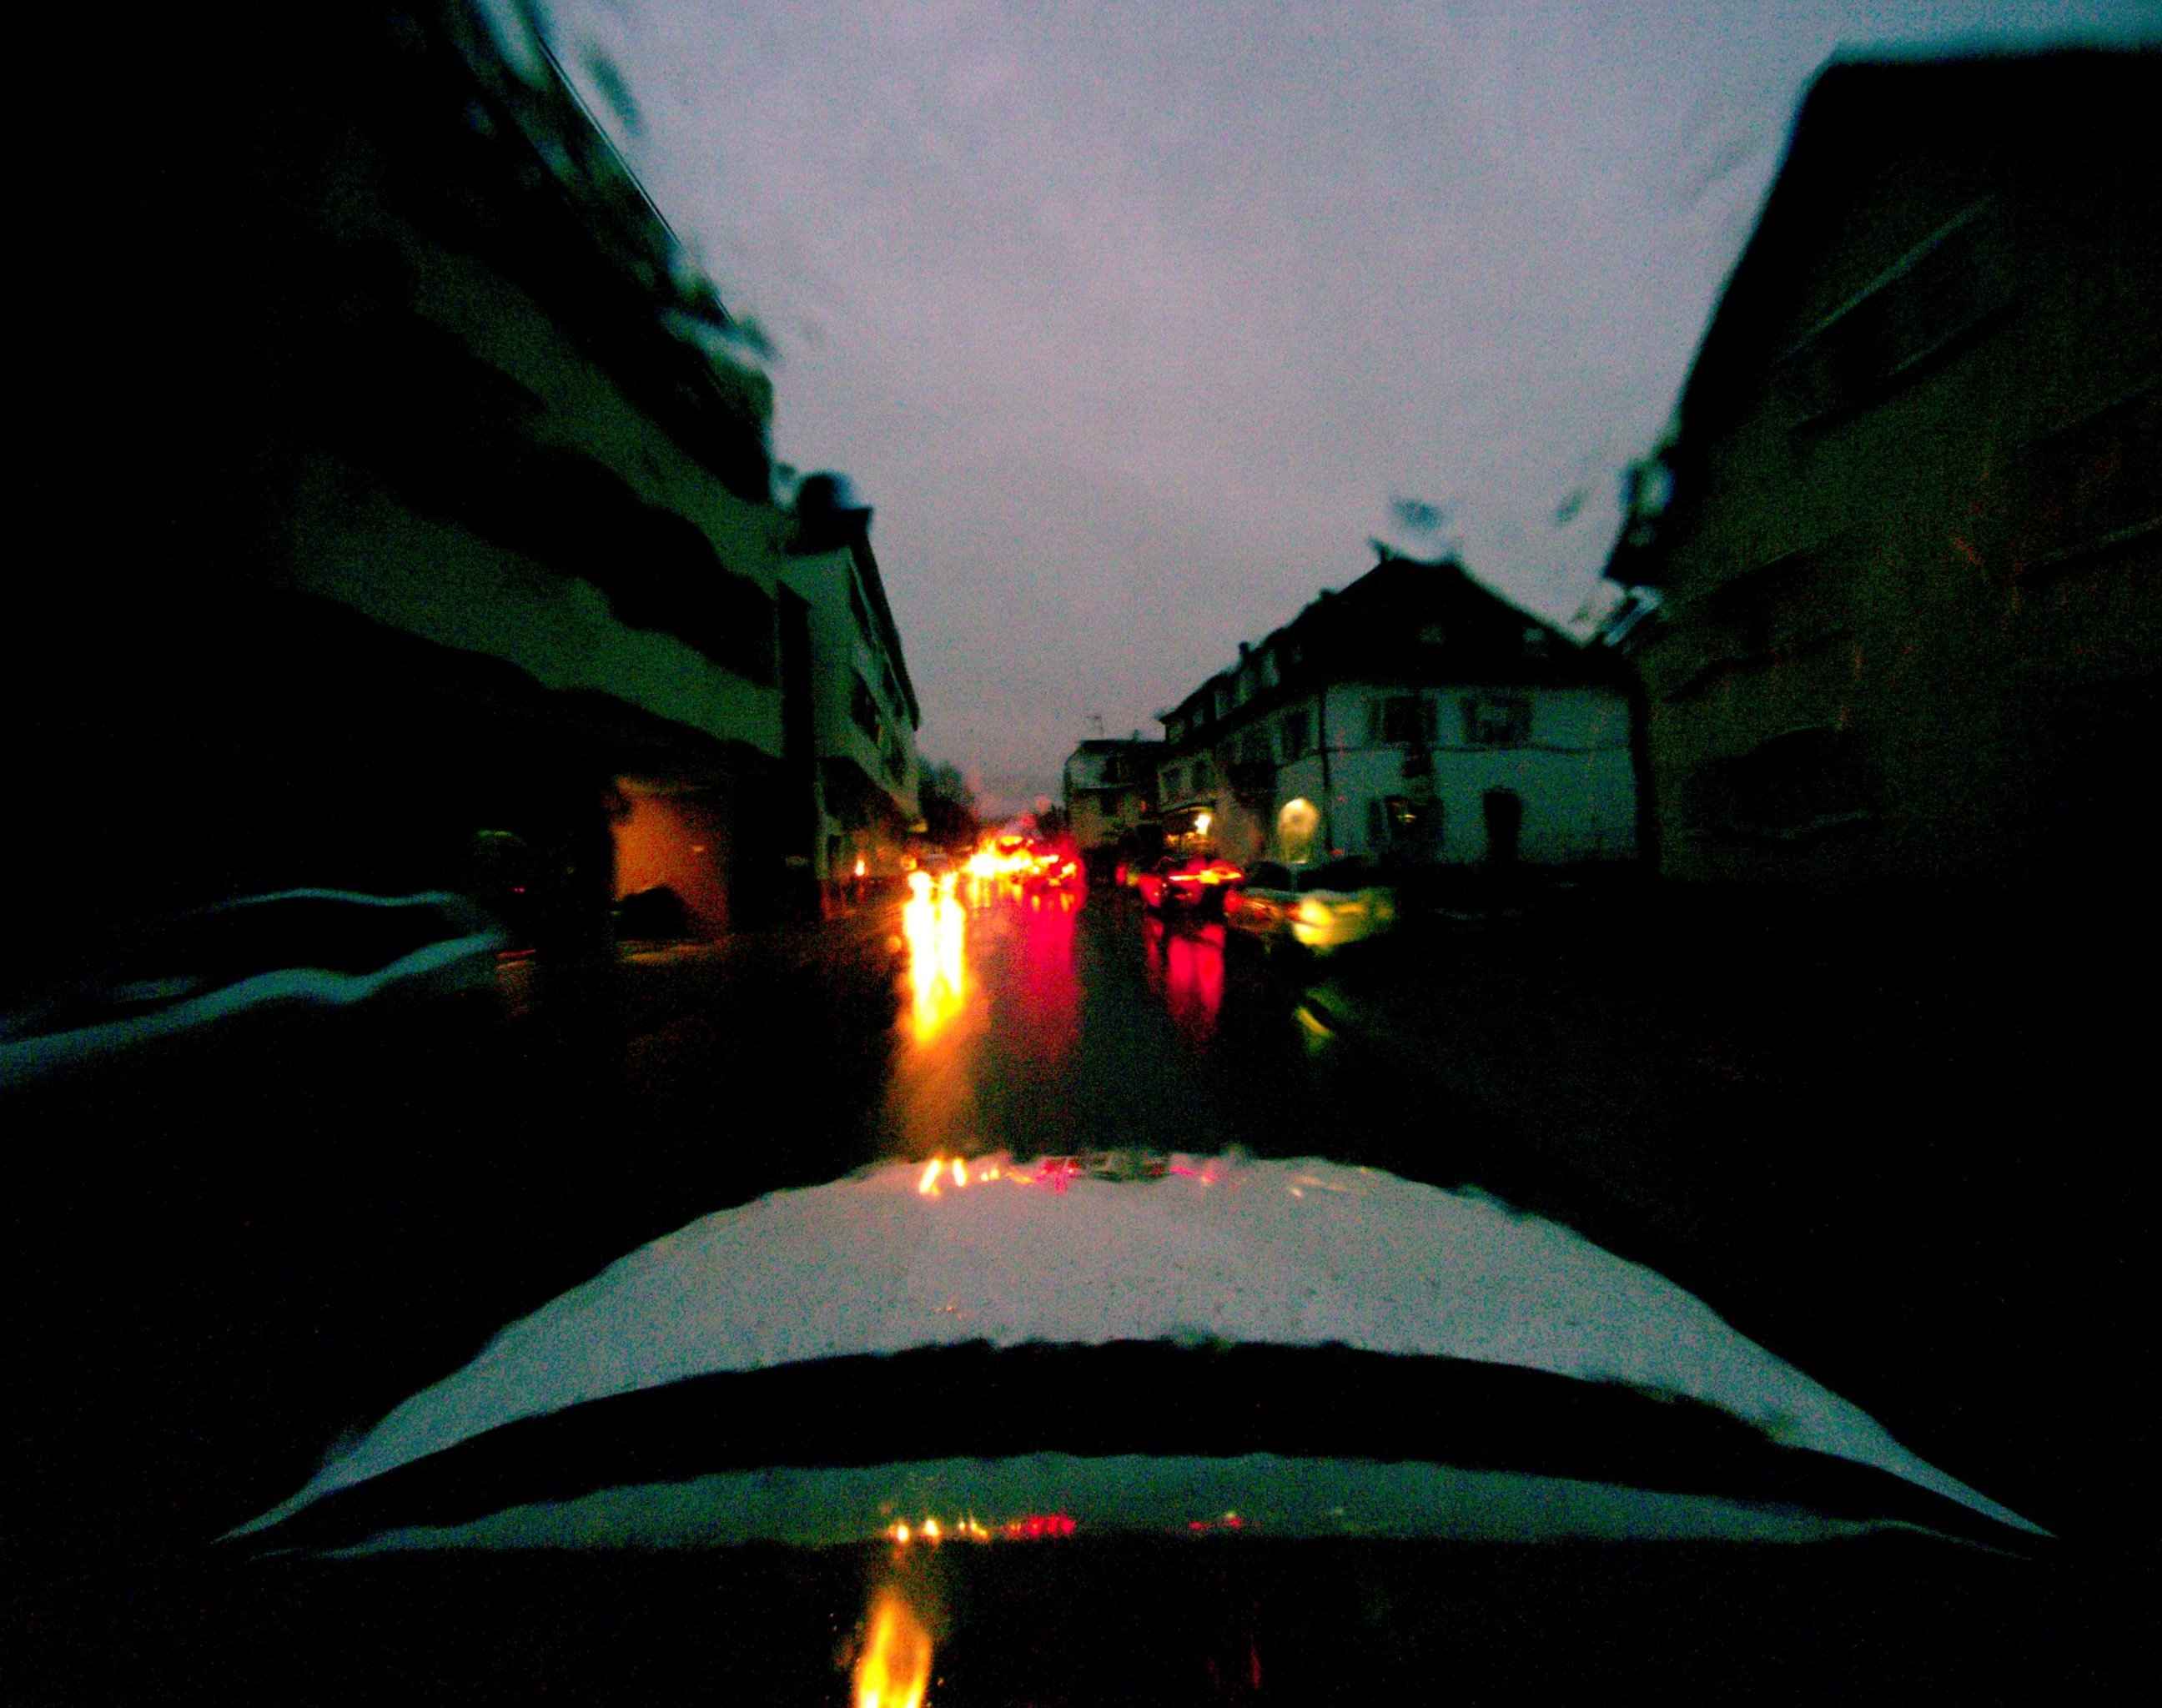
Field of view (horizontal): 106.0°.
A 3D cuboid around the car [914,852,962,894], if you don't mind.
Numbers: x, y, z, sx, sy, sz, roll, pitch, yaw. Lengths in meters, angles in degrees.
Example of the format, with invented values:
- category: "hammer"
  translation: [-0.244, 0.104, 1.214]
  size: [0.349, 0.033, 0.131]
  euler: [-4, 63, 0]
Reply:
- category: "car"
  translation: [-5.997, 0.754, 34.546]
  size: [1.792, 1.642, 3.803]
  euler: [-1, 0, -7]

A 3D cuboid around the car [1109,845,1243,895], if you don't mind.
- category: "car"
  translation: [3.391, 0.546, 29.505]
  size: [4.465, 1.473, 1.892]
  euler: [-3, 0, -9]

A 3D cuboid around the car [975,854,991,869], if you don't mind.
- category: "car"
  translation: [-10.723, 0.809, 89.188]
  size: [1.636, 1.535, 3.399]
  euler: [-1, 0, -6]

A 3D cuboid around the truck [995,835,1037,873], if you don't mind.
- category: "truck"
  translation: [-5.768, -0.017, 71.168]
  size: [3.015, 3.128, 7.974]
  euler: [-1, 0, -9]

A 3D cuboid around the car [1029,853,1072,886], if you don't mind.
- category: "car"
  translation: [-1.484, 0.701, 38.021]
  size: [1.637, 1.481, 3.369]
  euler: [-1, 0, -9]

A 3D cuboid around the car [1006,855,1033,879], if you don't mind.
- category: "car"
  translation: [-4.102, 0.850, 54.197]
  size: [1.636, 1.481, 3.263]
  euler: [-1, 0, -7]

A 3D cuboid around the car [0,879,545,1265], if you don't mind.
- category: "car"
  translation: [-5.193, 0.938, 4.389]
  size: [1.670, 1.446, 4.427]
  euler: [0, 0, 0]

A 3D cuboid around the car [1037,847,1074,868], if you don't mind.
- category: "car"
  translation: [-2.848, 0.363, 91.064]
  size: [4.084, 2.163, 1.913]
  euler: [-1, 0, -1]

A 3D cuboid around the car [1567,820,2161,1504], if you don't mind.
- category: "car"
  translation: [3.224, 0.646, 1.511]
  size: [1.817, 1.423, 4.607]
  euler: [-4, 0, 0]

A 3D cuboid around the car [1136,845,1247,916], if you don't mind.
- category: "car"
  translation: [2.738, 0.598, 21.258]
  size: [1.879, 1.547, 4.664]
  euler: [-3, 0, -4]

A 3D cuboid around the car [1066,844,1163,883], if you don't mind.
- category: "car"
  translation: [1.681, 0.458, 41.526]
  size: [4.606, 1.775, 1.938]
  euler: [-2, 0, -12]

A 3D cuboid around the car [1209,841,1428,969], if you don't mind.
- category: "car"
  translation: [3.274, 0.628, 12.266]
  size: [1.789, 1.460, 4.527]
  euler: [-4, 0, -2]
